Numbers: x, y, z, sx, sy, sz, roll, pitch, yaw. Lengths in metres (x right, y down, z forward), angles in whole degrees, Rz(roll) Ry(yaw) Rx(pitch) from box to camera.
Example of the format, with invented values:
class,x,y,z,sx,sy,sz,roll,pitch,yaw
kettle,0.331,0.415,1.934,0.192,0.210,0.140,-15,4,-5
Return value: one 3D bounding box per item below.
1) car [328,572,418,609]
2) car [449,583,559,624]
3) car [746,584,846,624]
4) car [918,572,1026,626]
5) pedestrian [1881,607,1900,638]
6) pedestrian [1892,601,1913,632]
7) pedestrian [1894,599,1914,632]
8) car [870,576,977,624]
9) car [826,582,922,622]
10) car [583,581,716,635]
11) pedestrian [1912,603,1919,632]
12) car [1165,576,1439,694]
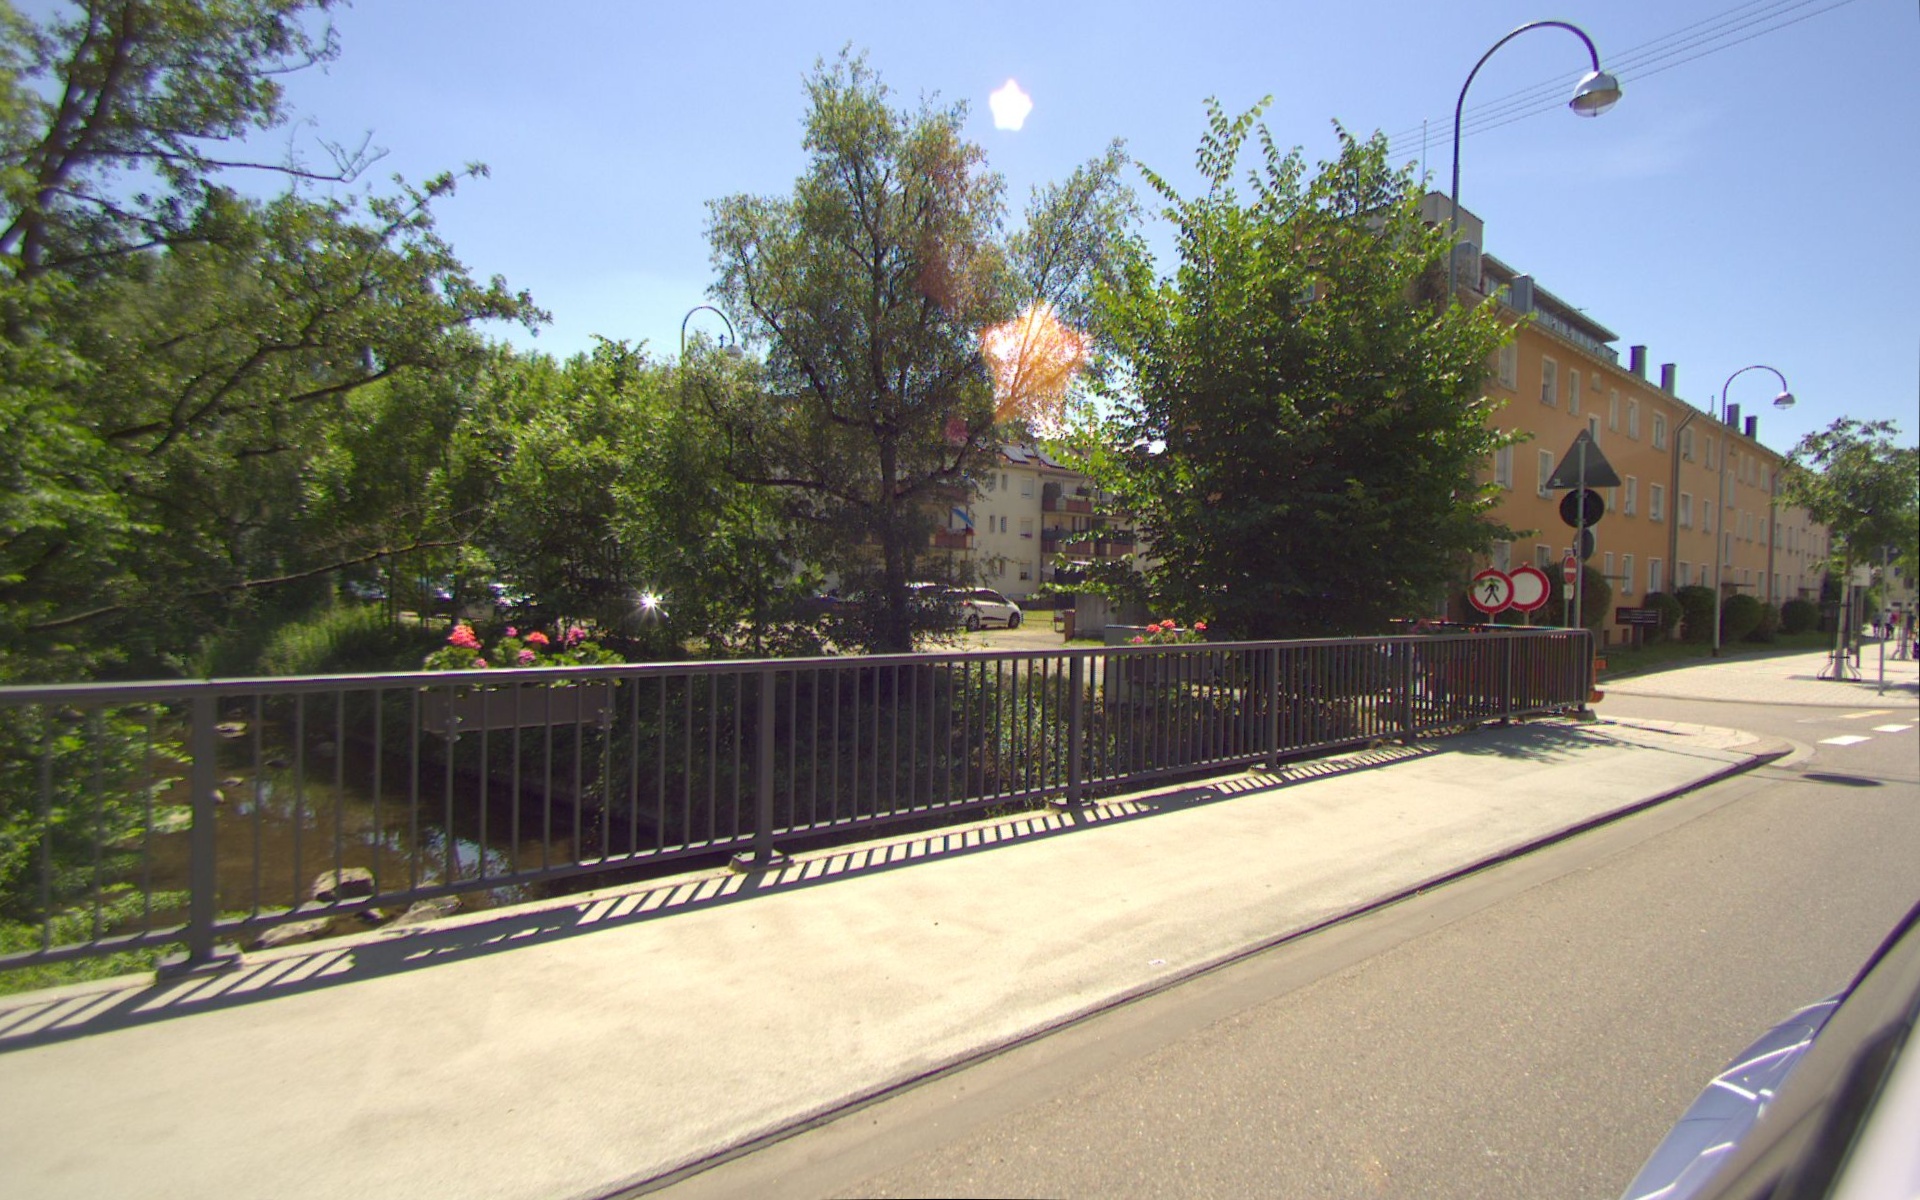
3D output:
class,x,y,z,sx,sy,sz,roll,pitch,yaw
car,-25.674,-0.416,44.206,4.492,1.520,1.971,0,0,40
car,-16.578,0.095,36.699,4.492,1.398,1.881,1,1,40
car,-6.951,0.156,43.253,1.989,1.583,3.947,2,1,37
car,0.487,-0.057,36.735,1.989,1.805,3.947,2,1,37
pedestrian,57.166,1.378,62.187,0.794,1.800,0.993,2,1,44
pedestrian,57.266,0.987,61.487,0.788,1.833,0.990,5,3,44
pedestrian,55.202,0.883,59.191,0.820,1.877,0.969,2,0,44
car,-1.306,-0.007,37.965,1.989,1.650,3.947,2,1,37
car,-3.329,0.073,39.753,1.610,1.438,3.868,2,1,36
car,-9.538,0.189,30.943,4.493,1.440,1.736,2,3,40
pedestrian,58.133,1.080,60.871,1.171,1.753,1.173,6,4,43
car,6.014,0.529,18.093,4.331,1.862,1.725,0,0,40
